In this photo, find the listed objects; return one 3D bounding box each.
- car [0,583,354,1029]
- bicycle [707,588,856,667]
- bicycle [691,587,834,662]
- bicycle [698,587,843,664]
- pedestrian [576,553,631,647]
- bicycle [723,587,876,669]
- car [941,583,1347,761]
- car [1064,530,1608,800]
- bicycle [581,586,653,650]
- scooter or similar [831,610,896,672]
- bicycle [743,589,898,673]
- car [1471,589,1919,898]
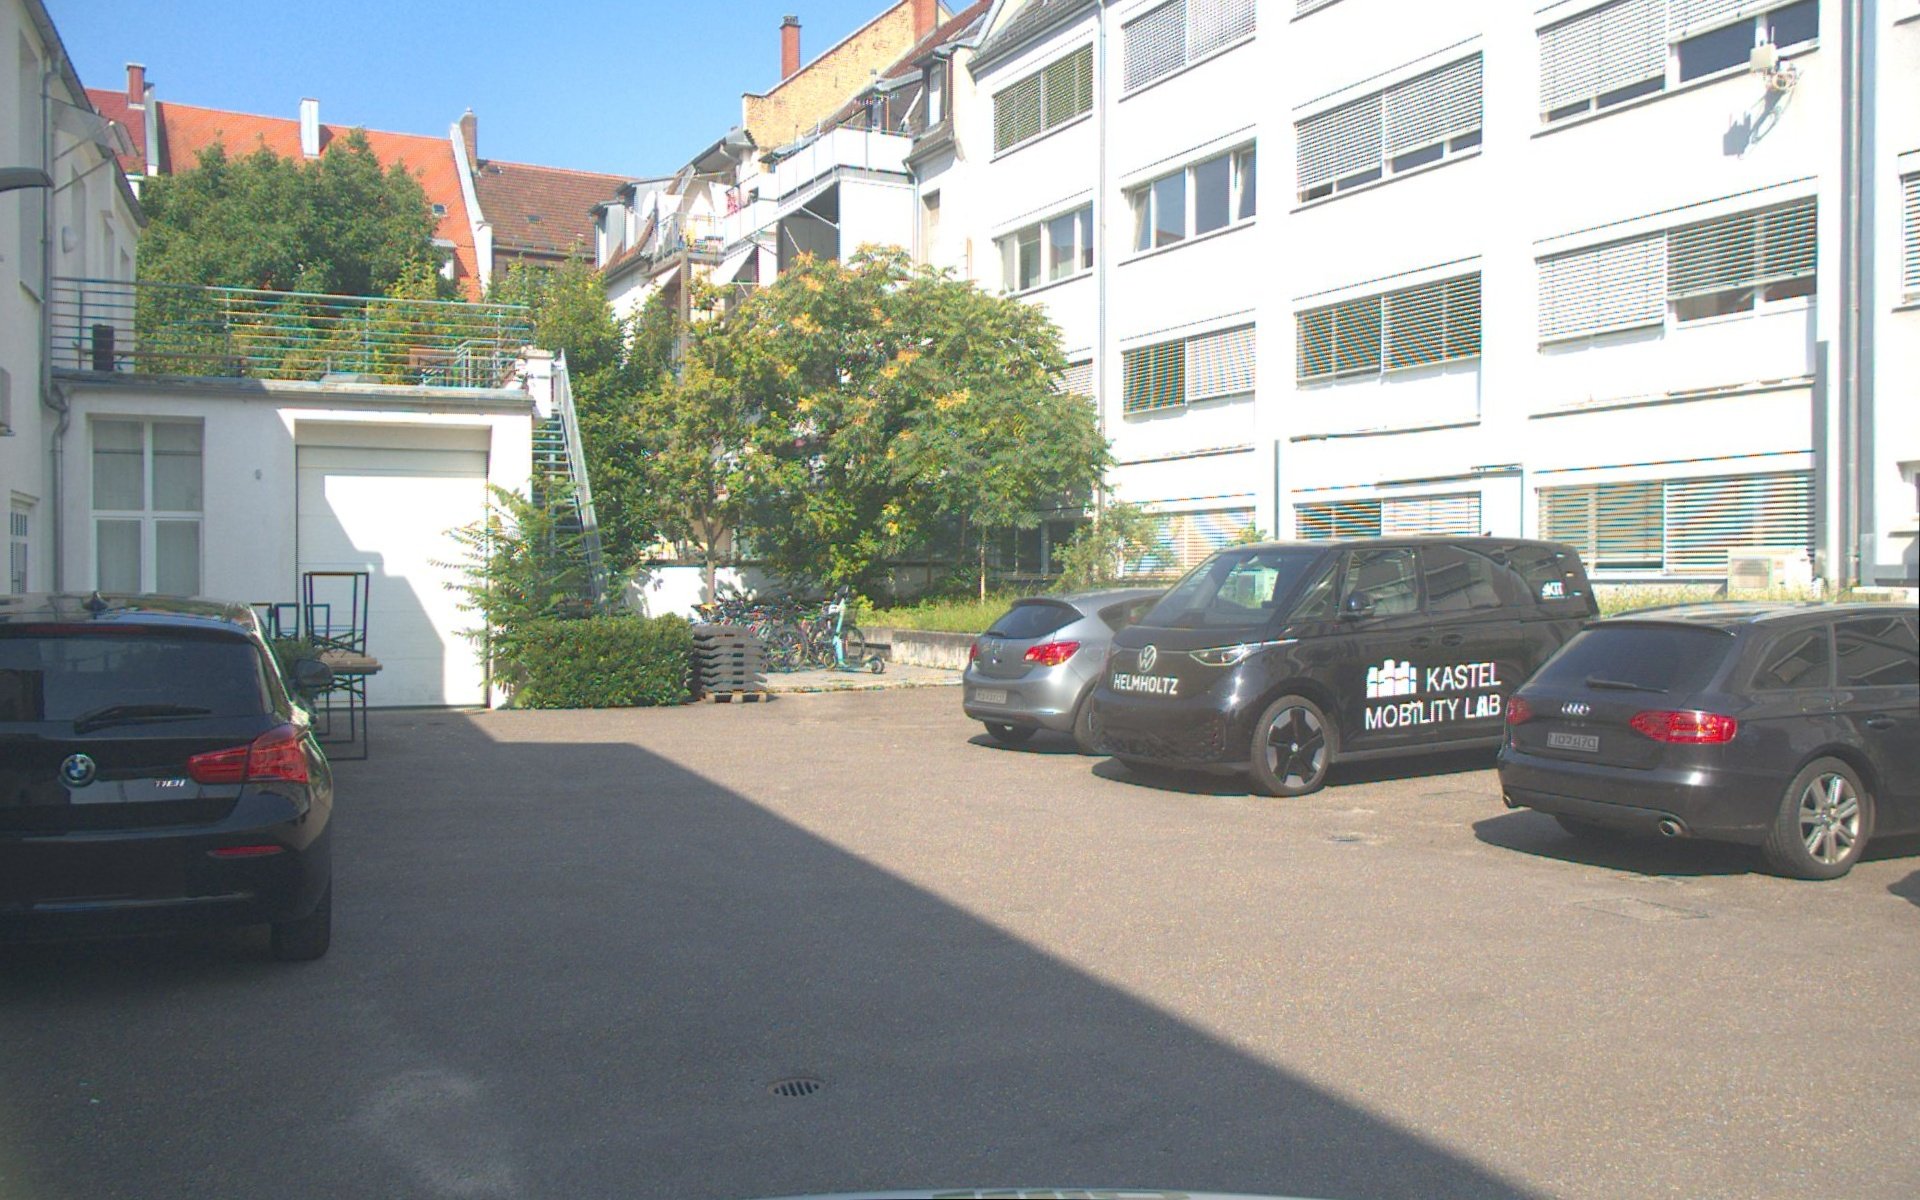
[{"bbox_3d":[-3.821,0.667,7.441,1.769,1.453,4.105,1,1,-24],"label":"car"},{"bbox_3d":[-2.930,0.449,27.253,2.377,1.268,0.523,1,0,-23],"label":"bicycle"},{"bbox_3d":[-3.390,0.417,28.462,2.377,1.268,0.523,1,0,-23],"label":"bicycle"},{"bbox_3d":[-3.182,0.427,27.815,2.378,1.268,0.523,0,0,-23],"label":"bicycle"},{"bbox_3d":[-6.913,-0.001,32.088,0.840,1.802,0.611,1,0,16],"label":"pedestrian"},{"bbox_3d":[-2.564,0.447,26.515,2.377,1.268,0.523,1,0,-23],"label":"bicycle"},{"bbox_3d":[1.852,0.605,16.149,3.865,1.491,1.642,-1,1,-36],"label":"car"},{"bbox_3d":[3.137,0.407,13.541,4.293,1.891,1.894,-1,1,-32],"label":"car"},{"bbox_3d":[-6.654,0.330,32.143,0.478,1.163,1.995,0,2,16],"label":"bicycle"},{"bbox_3d":[-1.507,0.633,25.852,0.978,0.940,0.359,1,0,31],"label":"scooter or similar"},{"bbox_3d":[-2.175,0.482,25.955,2.377,1.268,0.523,1,0,-23],"label":"bicycle"},{"bbox_3d":[5.226,0.698,9.790,4.177,1.462,1.678,-1,1,-24],"label":"car"}]
